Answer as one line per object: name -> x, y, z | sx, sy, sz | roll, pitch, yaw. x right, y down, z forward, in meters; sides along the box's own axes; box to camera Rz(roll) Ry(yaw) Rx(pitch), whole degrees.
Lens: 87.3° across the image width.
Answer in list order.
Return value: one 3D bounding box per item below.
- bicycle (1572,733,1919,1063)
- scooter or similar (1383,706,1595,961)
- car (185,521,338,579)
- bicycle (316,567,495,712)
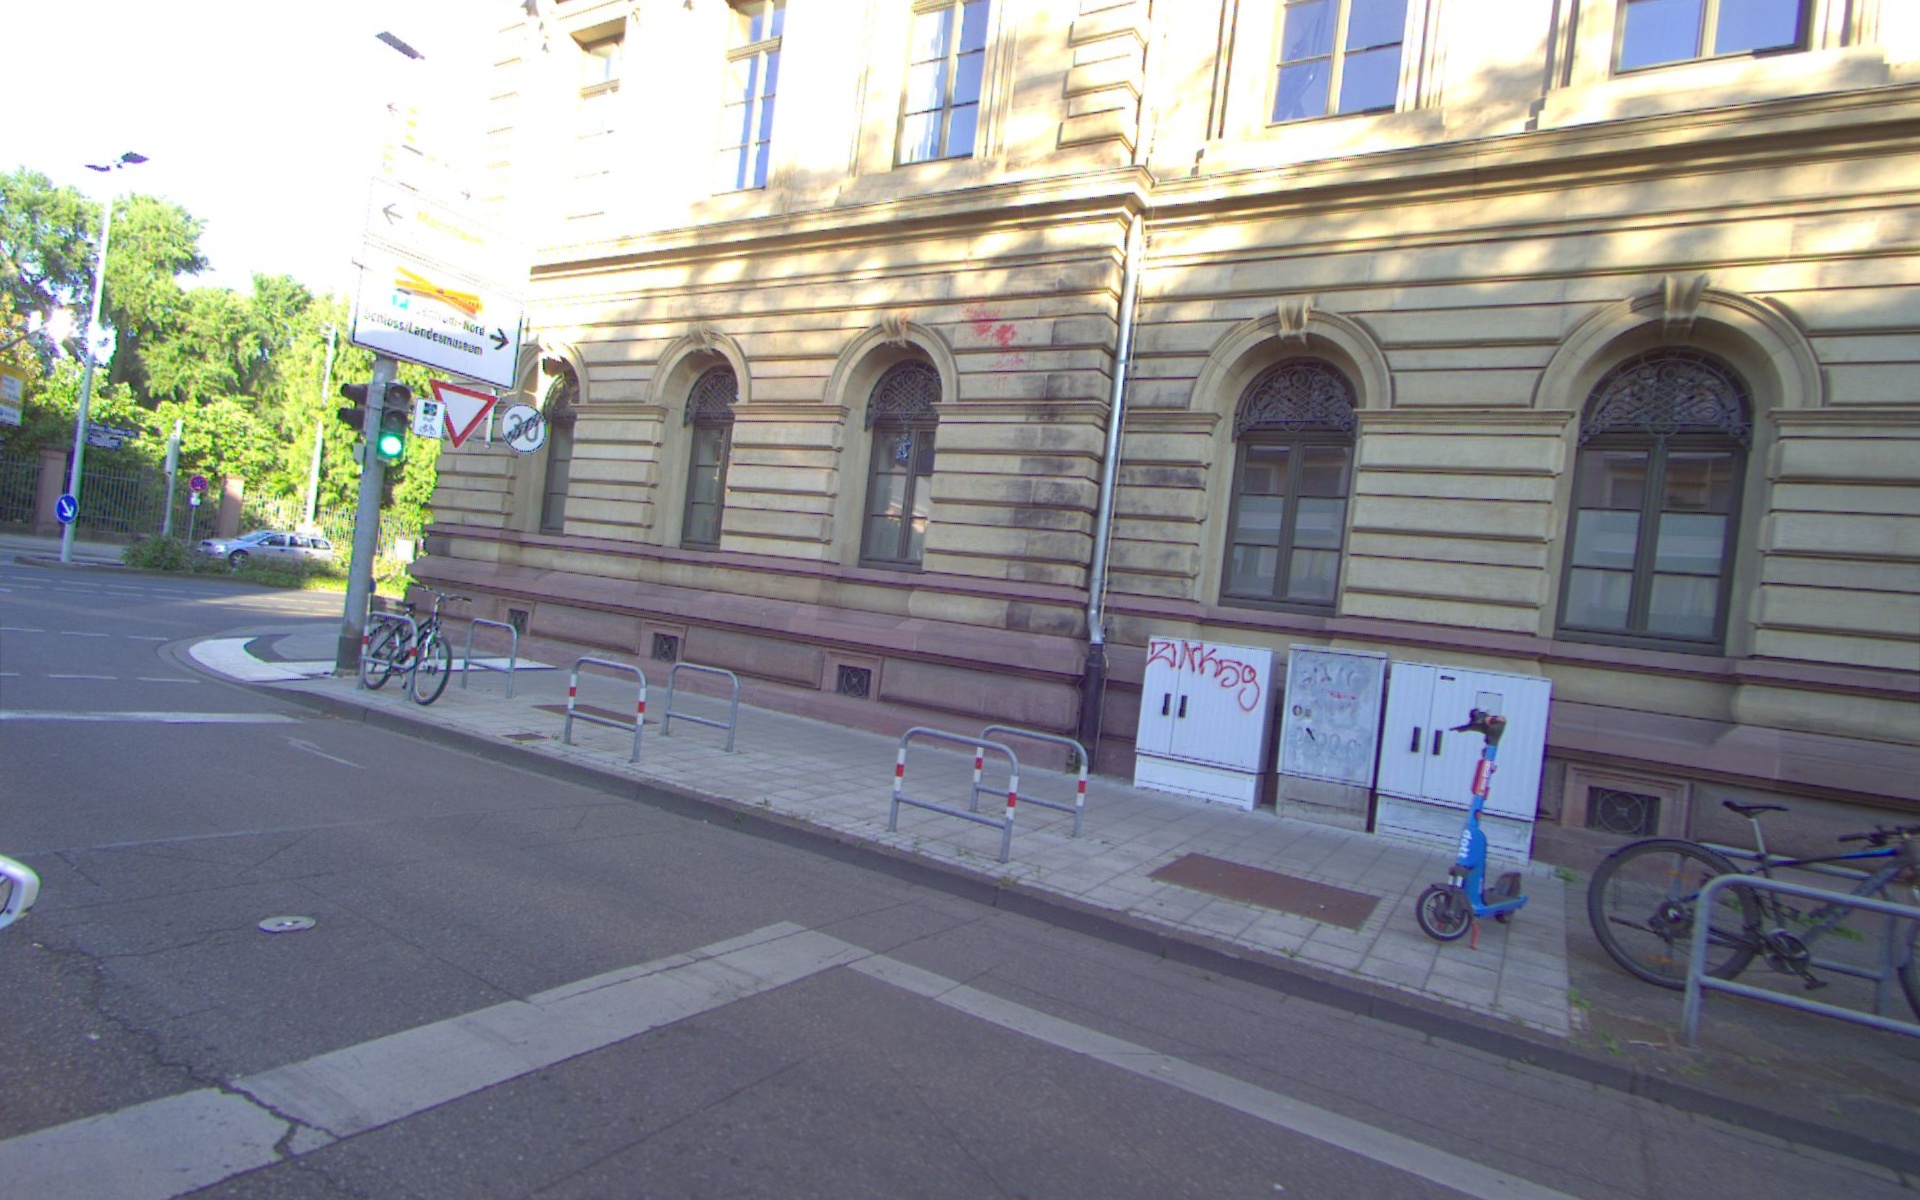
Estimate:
bicycle -> 4.120, 1.401, 4.828 | 1.912, 1.149, 0.827 | 7, 3, 32
scooter or similar -> 2.984, 1.242, 5.651 | 1.125, 1.211, 0.577 | 4, 2, -41
car -> -25.269, -1.775, 36.552 | 1.685, 1.462, 4.195 | 7, -1, 27
bicycle -> -5.377, 0.361, 9.714 | 1.889, 1.203, 0.583 | 5, -1, 32
